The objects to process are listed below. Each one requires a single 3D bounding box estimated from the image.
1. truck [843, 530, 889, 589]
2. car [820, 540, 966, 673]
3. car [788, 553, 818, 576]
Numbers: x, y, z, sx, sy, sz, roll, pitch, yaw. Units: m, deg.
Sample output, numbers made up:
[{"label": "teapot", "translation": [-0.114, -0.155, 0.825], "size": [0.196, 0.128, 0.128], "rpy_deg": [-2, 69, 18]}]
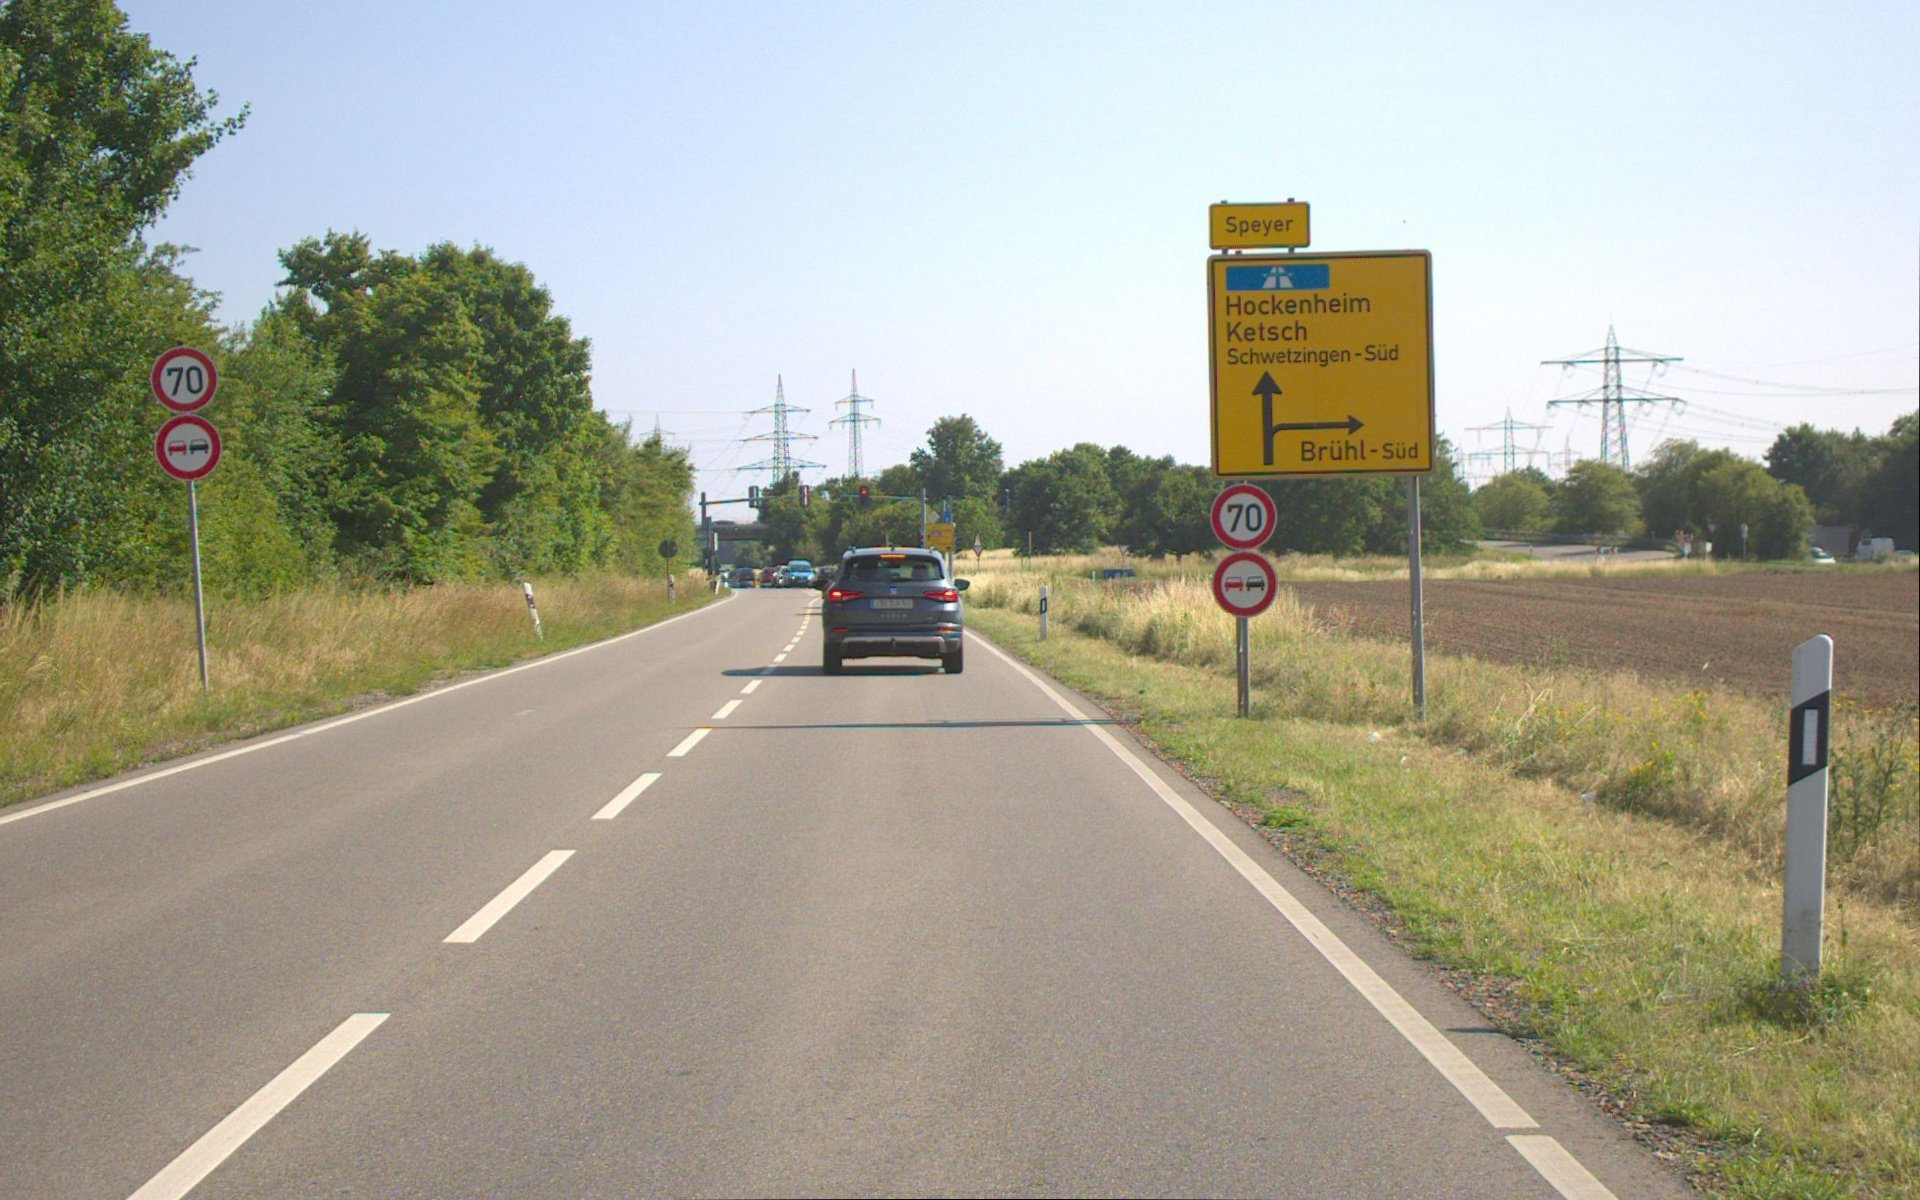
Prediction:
[{"label": "truck", "translation": [-4.854, -2.081, 178.704], "size": [2.337, 3.055, 5.810], "rpy_deg": [0, 0, -1]}, {"label": "car", "translation": [-0.909, 0.049, 44.540], "size": [1.785, 1.623, 4.001], "rpy_deg": [-1, 1, -2]}, {"label": "car", "translation": [-10.697, -2.433, 233.922], "size": [1.816, 1.535, 4.001], "rpy_deg": [-1, 1, -6]}]
